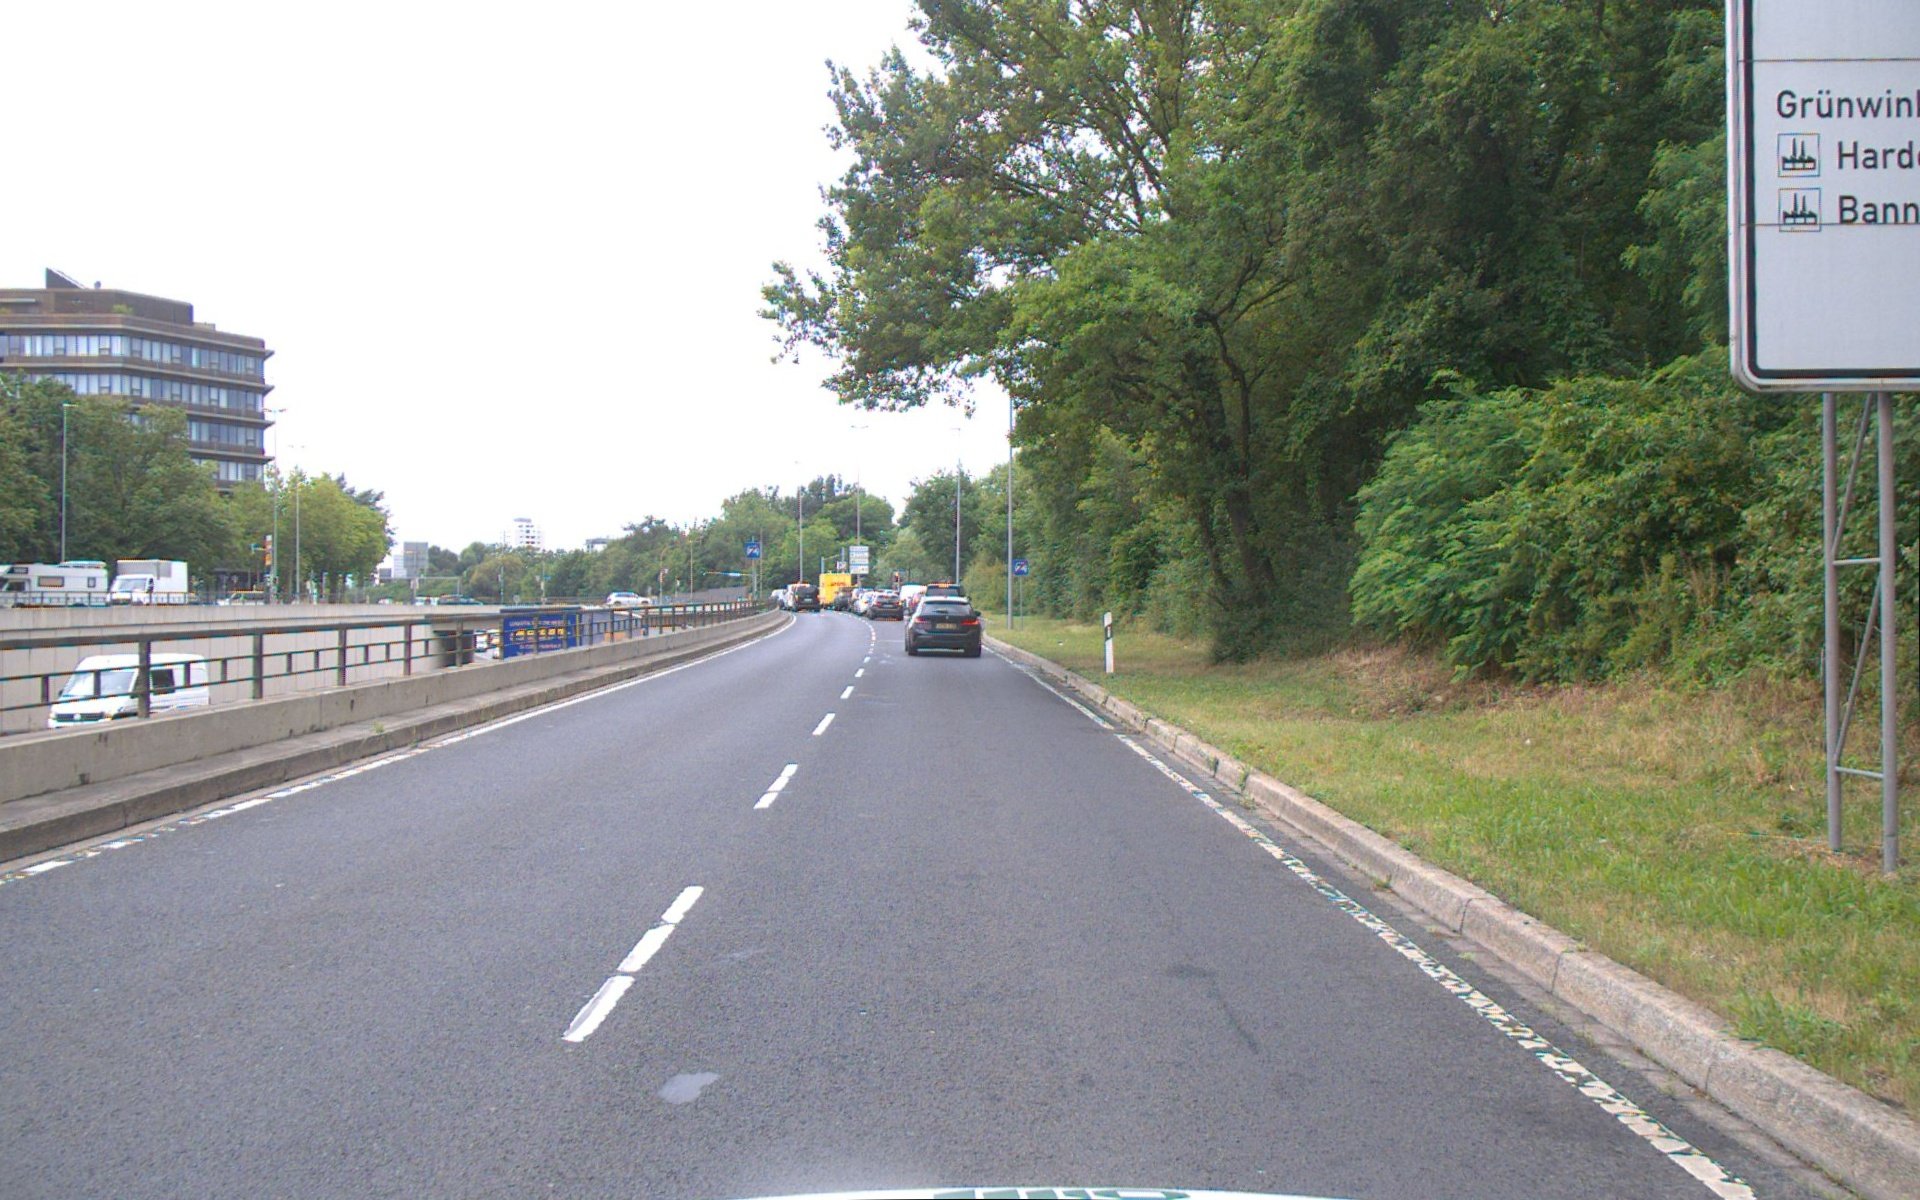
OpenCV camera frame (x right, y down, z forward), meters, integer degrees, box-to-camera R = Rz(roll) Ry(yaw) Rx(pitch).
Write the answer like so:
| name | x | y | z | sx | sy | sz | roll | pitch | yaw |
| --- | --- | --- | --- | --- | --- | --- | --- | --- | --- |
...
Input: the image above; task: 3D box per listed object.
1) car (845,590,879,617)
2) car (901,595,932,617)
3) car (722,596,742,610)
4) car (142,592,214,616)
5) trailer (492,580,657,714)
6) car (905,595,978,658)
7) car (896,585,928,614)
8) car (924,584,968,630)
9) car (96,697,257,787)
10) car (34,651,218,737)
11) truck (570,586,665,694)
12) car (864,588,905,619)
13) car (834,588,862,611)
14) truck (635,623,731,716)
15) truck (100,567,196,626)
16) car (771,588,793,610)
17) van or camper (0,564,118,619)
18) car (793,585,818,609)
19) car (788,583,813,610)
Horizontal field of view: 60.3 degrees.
| name | x | y | z | sx | sy | sz | roll | pitch | yaw |
| --- | --- | --- | --- | --- | --- | --- | --- | --- | --- |
| car | -6.176 | 0.231 | 103.819 | 1.849 | 1.620 | 4.423 | 1 | 0 | -7 |
| car | -2.833 | 0.389 | 106.631 | 1.847 | 1.379 | 3.997 | 1 | 0 | -4 |
| car | -28.830 | 0.357 | 209.067 | 1.599 | 1.731 | 4.273 | 1 | 0 | -19 |
| car | -51.456 | 0.257 | 108.826 | 1.597 | 1.466 | 3.982 | 1 | -1 | 37 |
| trailer | -13.363 | 1.526 | 59.093 | 2.794 | 4.107 | 15.996 | -1 | 0 | -2 |
| car | -0.510 | 0.617 | 41.460 | 1.713 | 1.451 | 4.460 | 0 | 1 | -2 |
| car | -3.400 | -0.015 | 115.774 | 1.849 | 1.912 | 4.423 | 1 | 0 | -7 |
| car | -0.633 | 0.302 | 72.740 | 1.860 | 1.917 | 4.414 | 1 | 0 | -1 |
| car | -16.568 | 2.969 | 35.180 | 1.590 | 1.555 | 3.896 | 1 | 0 | -1 |
| car | -24.113 | 2.651 | 48.181 | 2.164 | 2.034 | 6.652 | -2 | 0 | -2 |
| truck | -13.712 | 1.566 | 66.660 | 2.794 | 4.107 | 6.093 | -1 | -1 | -3 |
| car | -4.127 | 0.184 | 89.787 | 1.849 | 1.620 | 4.423 | 1 | 0 | -7 |
| car | -8.566 | -0.025 | 126.043 | 1.849 | 1.730 | 4.423 | 1 | 0 | -7 |
| truck | -13.716 | 3.278 | 83.223 | 2.794 | 4.107 | 15.569 | -1 | 0 | -2 |
| truck | -43.902 | -0.151 | 89.644 | 1.976 | 3.039 | 7.093 | 1 | 0 | -3 |
| car | -14.747 | -0.055 | 136.671 | 1.593 | 1.731 | 4.288 | 1 | 0 | -8 |
| van or camper | -49.617 | -0.455 | 90.521 | 2.109 | 2.859 | 5.885 | 1 | -1 | 43 |
| car | -11.290 | -0.221 | 120.894 | 1.593 | 1.731 | 4.288 | 1 | 0 | -8 |
| car | -12.447 | -0.235 | 128.956 | 1.849 | 2.022 | 4.423 | 1 | 0 | -7 |
